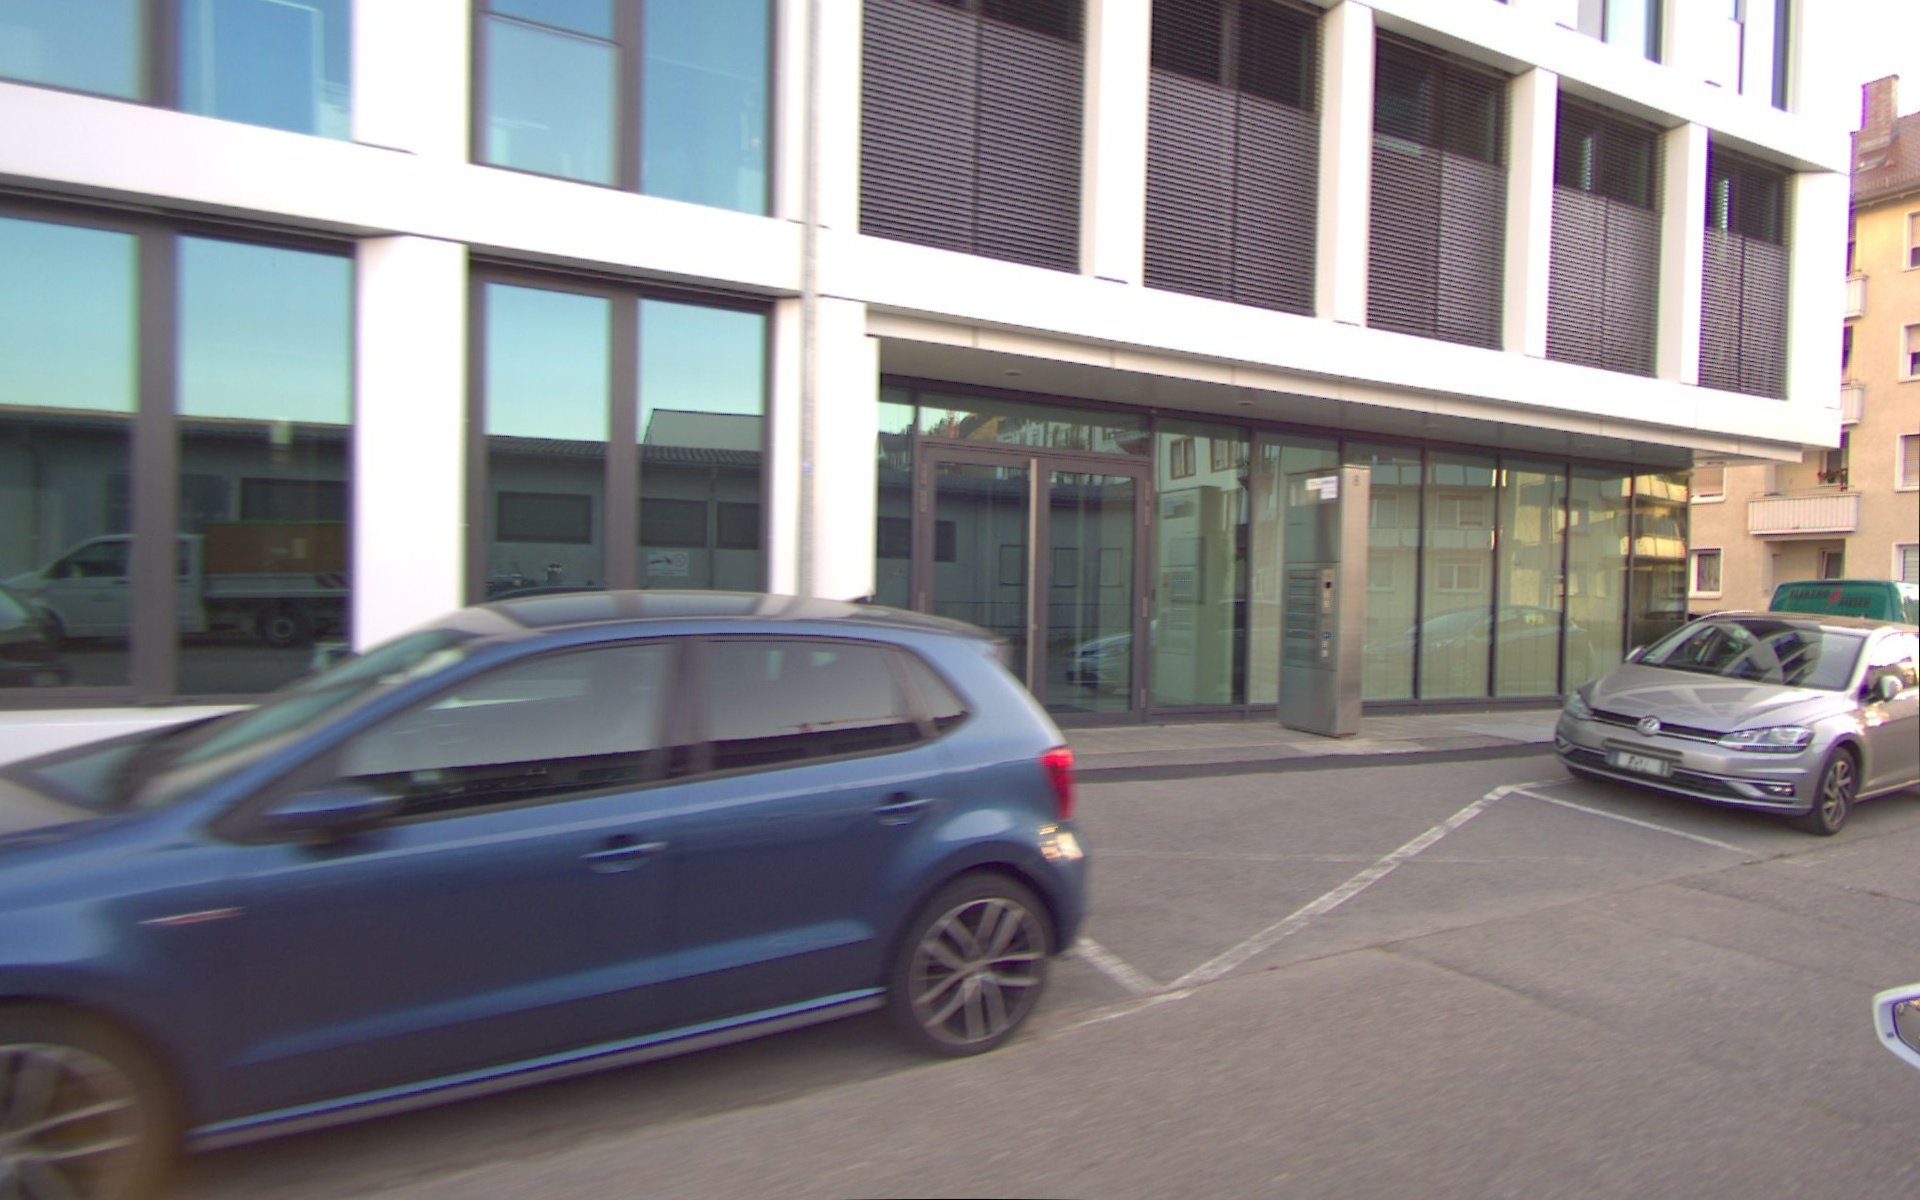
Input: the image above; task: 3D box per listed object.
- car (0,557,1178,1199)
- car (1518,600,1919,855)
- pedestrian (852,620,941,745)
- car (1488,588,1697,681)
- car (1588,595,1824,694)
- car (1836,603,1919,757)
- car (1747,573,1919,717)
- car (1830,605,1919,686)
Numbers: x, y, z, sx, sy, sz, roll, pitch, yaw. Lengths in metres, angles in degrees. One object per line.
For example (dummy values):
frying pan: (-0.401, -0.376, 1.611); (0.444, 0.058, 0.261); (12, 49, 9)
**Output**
car: (-1.463, 0.680, 3.292); (4.133, 1.458, 1.641); (1, 4, -29)
car: (6.622, 0.846, 8.158); (4.135, 1.499, 1.701); (1, 4, -30)
pedestrian: (-0.564, 0.705, 8.812); (0.620, 1.032, 0.586); (1, 1, -21)
car: (13.254, 0.740, 21.005); (4.277, 1.681, 1.723); (3, 0, -28)
car: (13.797, 0.826, 18.545); (4.277, 1.570, 1.772); (4, 0, -28)
car: (11.685, 0.895, 10.888); (4.276, 1.499, 1.772); (1, 4, -28)
car: (14.734, 0.631, 15.938); (4.630, 2.006, 1.790); (0, 1, -28)
car: (22.031, 1.030, 22.099); (1.857, 1.640, 3.990); (-4, 3, -28)
